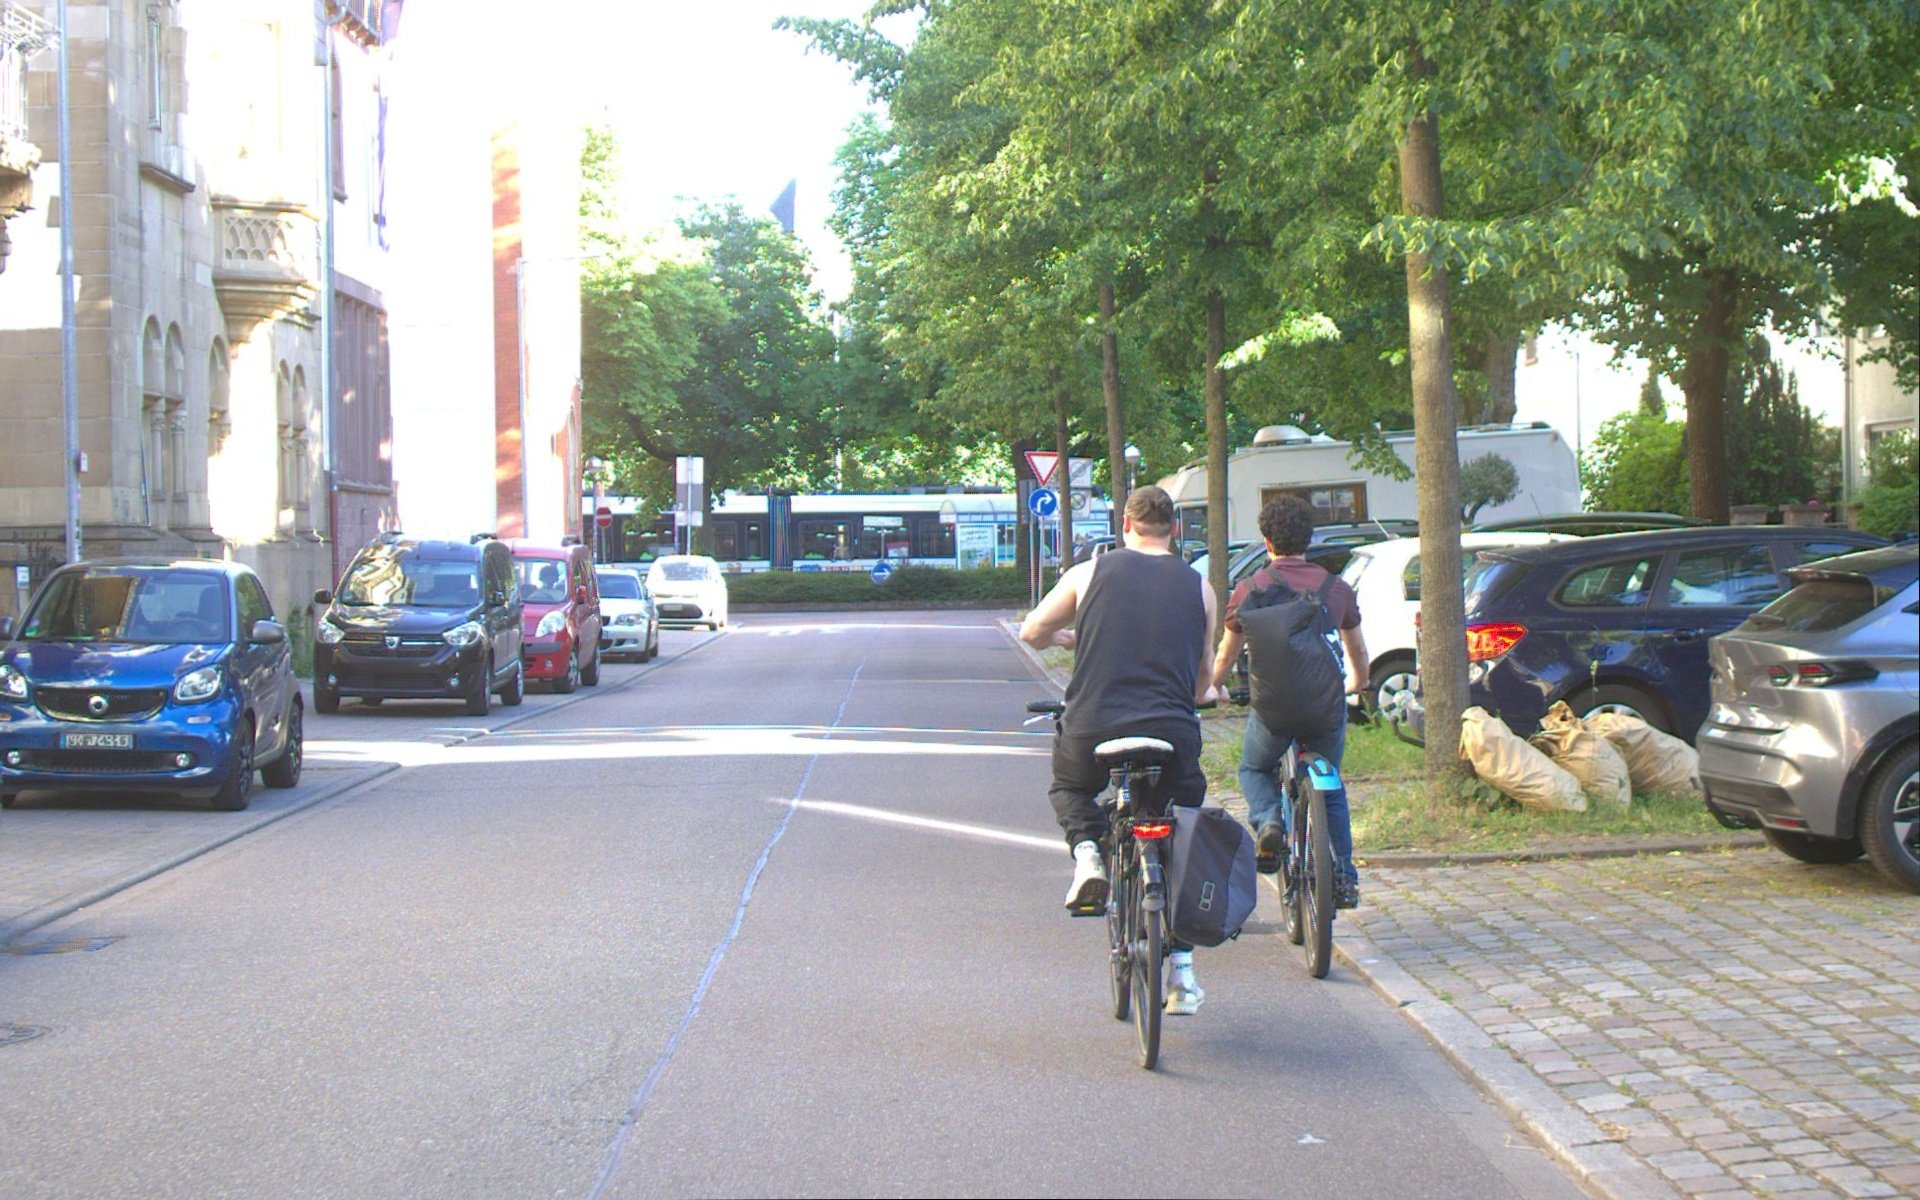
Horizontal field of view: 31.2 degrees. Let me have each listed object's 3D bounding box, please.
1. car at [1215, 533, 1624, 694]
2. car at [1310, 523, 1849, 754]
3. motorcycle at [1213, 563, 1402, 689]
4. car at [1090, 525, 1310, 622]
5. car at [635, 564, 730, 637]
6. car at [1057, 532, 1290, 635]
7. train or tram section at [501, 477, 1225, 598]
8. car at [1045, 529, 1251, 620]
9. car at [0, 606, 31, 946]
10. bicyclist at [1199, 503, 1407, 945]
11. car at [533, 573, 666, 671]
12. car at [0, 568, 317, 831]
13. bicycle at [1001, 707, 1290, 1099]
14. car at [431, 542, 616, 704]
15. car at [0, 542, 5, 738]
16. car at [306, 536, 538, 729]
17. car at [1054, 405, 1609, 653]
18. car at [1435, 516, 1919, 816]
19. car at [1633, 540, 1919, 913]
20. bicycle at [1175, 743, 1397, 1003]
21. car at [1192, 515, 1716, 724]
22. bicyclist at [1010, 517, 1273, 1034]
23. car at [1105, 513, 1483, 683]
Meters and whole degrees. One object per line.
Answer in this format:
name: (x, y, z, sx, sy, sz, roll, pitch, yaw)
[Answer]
car: (4.969, 0.154, 37.486, 4.138, 1.594, 1.702, -2, -1, -3)
car: (4.642, 0.300, 26.147, 3.773, 1.594, 1.691, -2, -1, 1)
motorcycle: (3.253, 0.247, 32.208, 1.606, 1.137, 0.671, -1, 1, 33)
car: (4.533, -0.500, 65.351, 3.986, 1.797, 1.834, 0, 0, -2)
car: (-5.643, -0.013, 70.333, 1.583, 1.371, 4.131, 1, 1, 0)
car: (3.789, -0.292, 61.597, 3.986, 1.797, 1.834, 0, 0, -2)
train or tram section: (-2.916, -1.963, 112.964, 23.800, 3.696, 4.287, 0, 0, -22)
car: (3.774, -0.521, 69.483, 3.986, 1.797, 1.834, 0, 0, -2)
car: (-4.892, 0.782, 12.694, 1.675, 1.425, 4.550, 1, 1, 0)
bicyclist: (1.290, 0.449, 13.100, 0.689, 1.621, 0.998, 0, 1, 0)
car: (-5.459, 0.310, 52.476, 1.583, 1.339, 4.131, 1, 1, 0)
car: (-5.165, 0.588, 22.057, 1.595, 1.484, 2.737, 2, 1, -2)
bicycle: (0.542, 0.900, 10.826, 0.737, 1.050, 1.956, 1, 0, -2)
car: (-5.276, 0.234, 42.027, 1.689, 1.819, 4.273, 1, 1, 0)
car: (-10.225, 0.372, 28.395, 4.198, 1.662, 1.719, 0, 1, -2)
car: (-5.381, 0.268, 34.842, 1.640, 1.777, 4.354, 1, 1, 0)
car: (5.020, -0.966, 47.237, 7.146, 2.968, 2.465, -3, 1, -3)
car: (4.989, 0.355, 19.893, 4.223, 1.594, 1.691, -2, -1, 1)
car: (5.053, 0.453, 14.476, 4.032, 1.449, 1.691, -1, 1, -4)
bicycle: (1.219, 1.013, 13.165, 0.633, 0.796, 1.833, -2, 1, -1)
car: (4.075, 0.173, 28.856, 4.139, 1.594, 1.702, -2, -1, 1)
bicyclist: (0.551, 0.527, 10.757, 0.730, 1.542, 0.884, 1, 0, -2)
car: (3.833, -0.036, 39.917, 4.082, 1.644, 1.641, -4, 1, -2)
